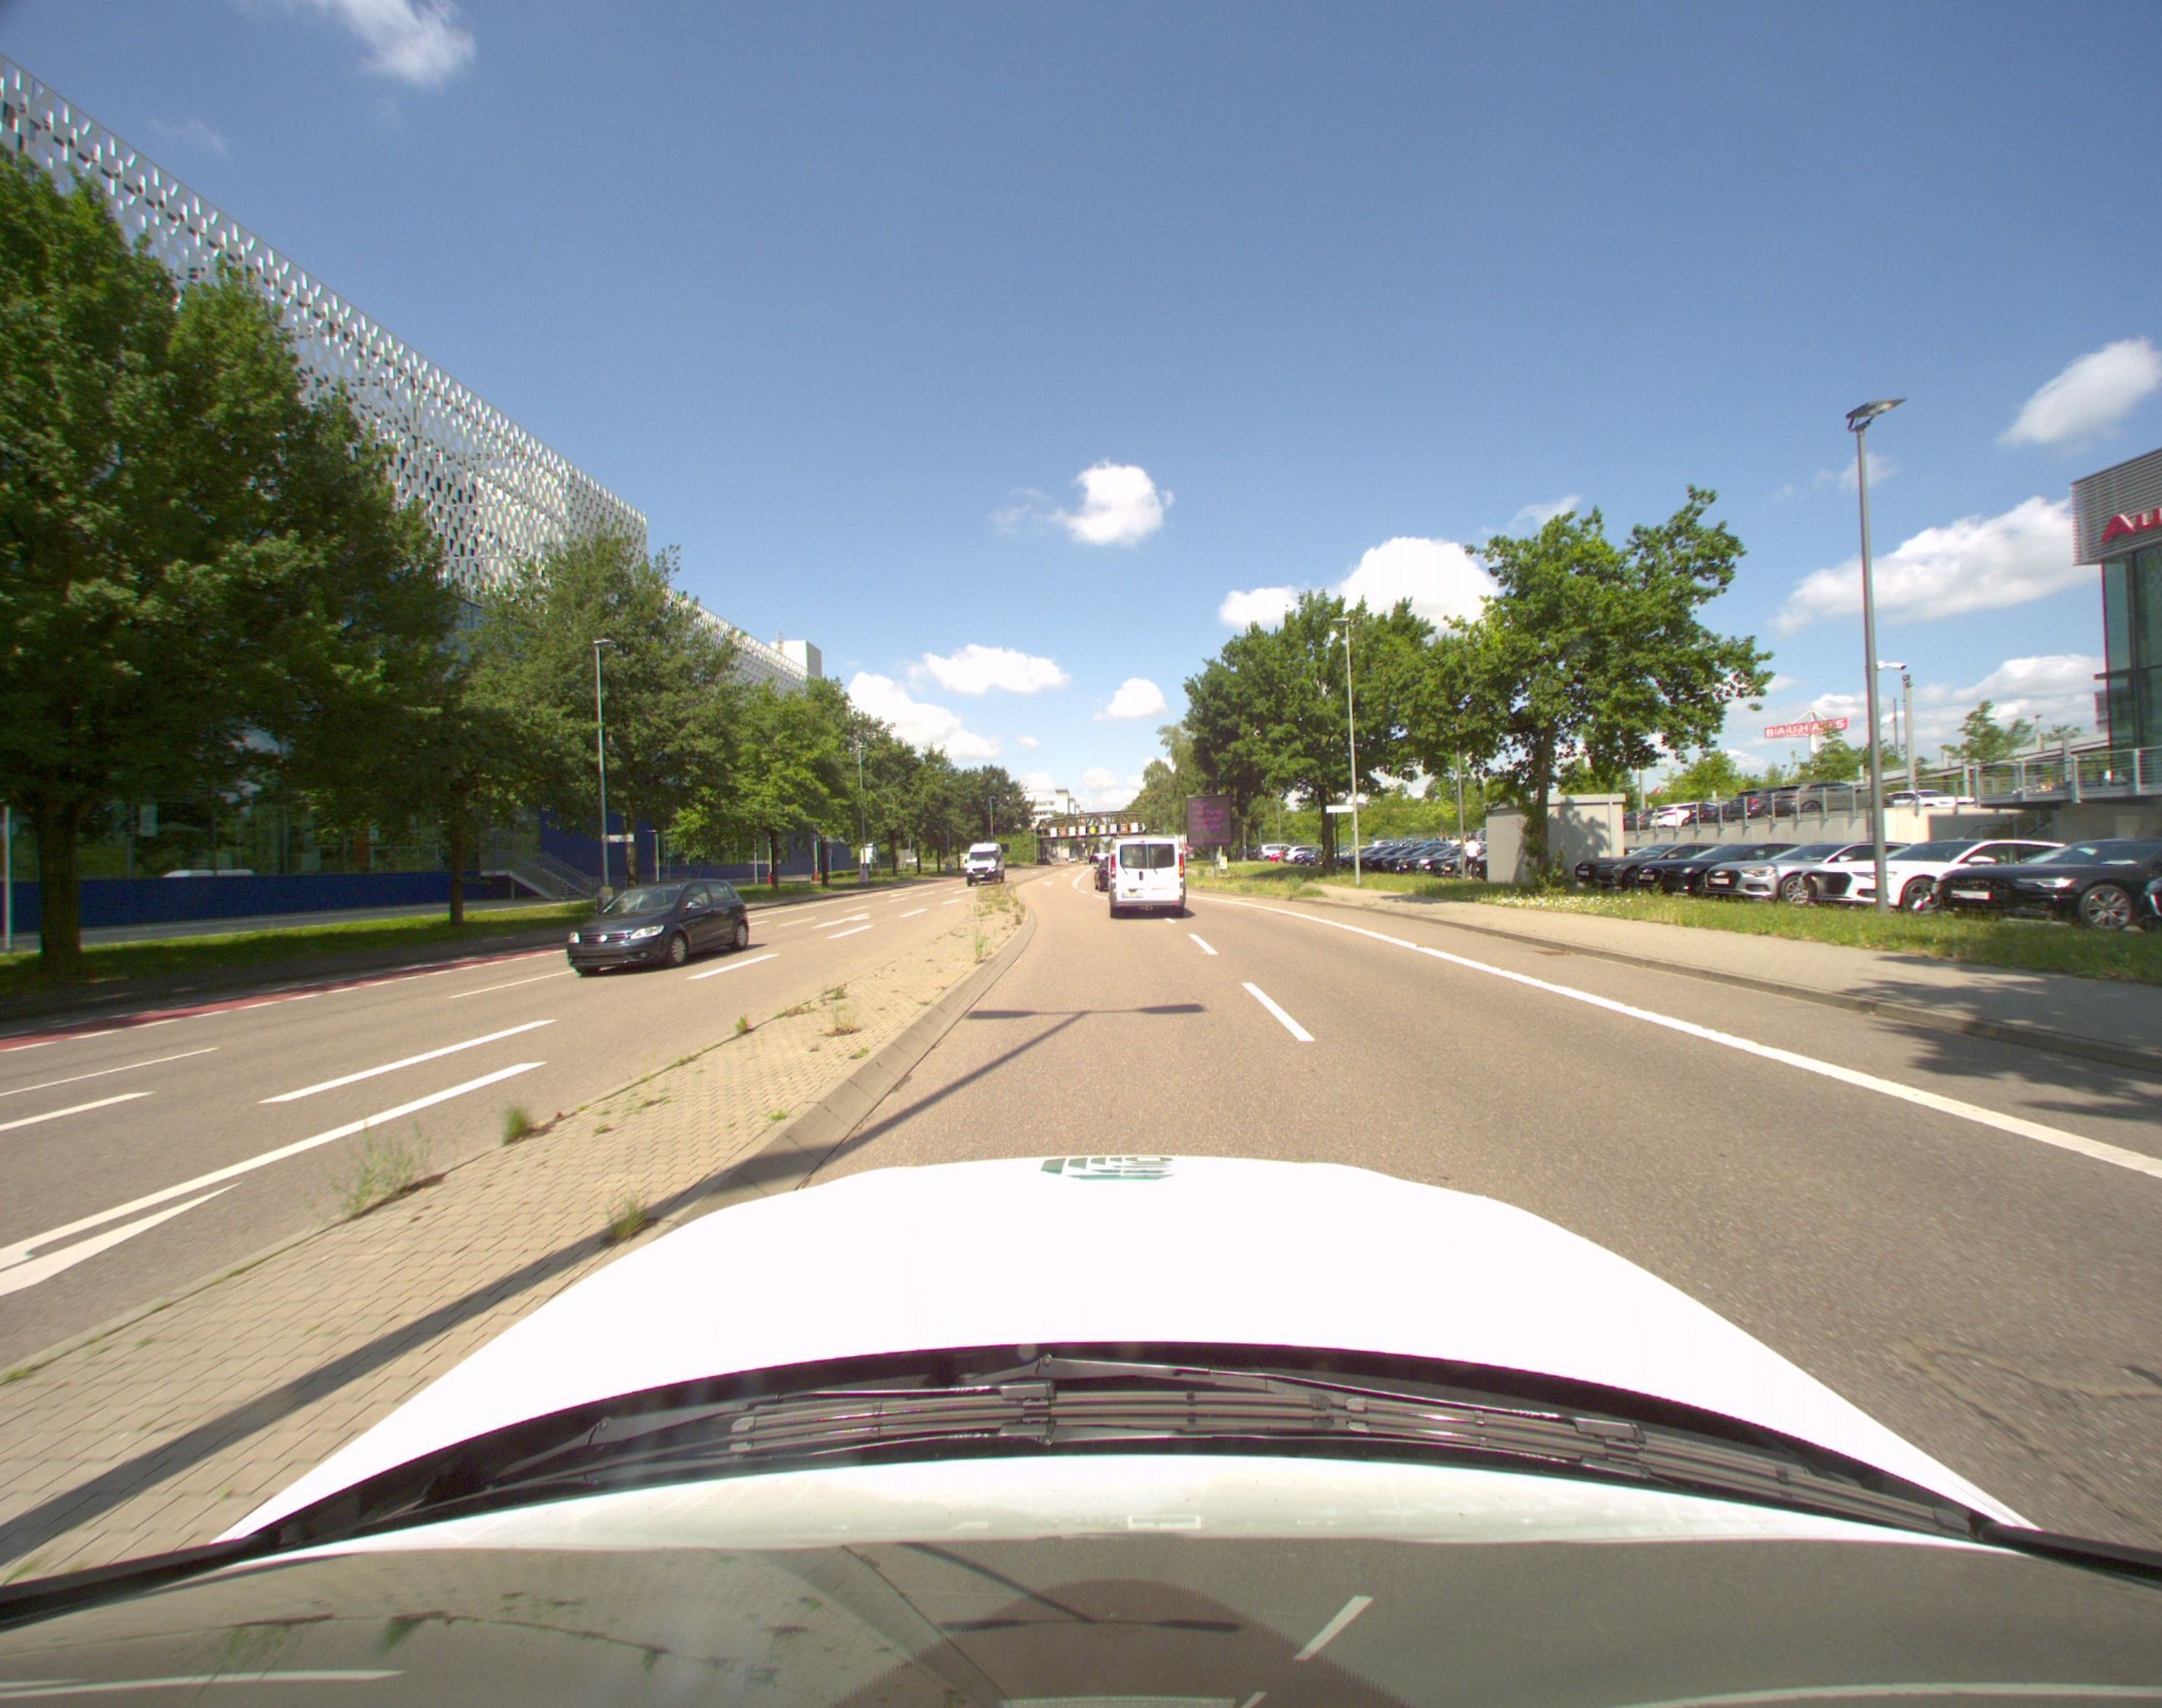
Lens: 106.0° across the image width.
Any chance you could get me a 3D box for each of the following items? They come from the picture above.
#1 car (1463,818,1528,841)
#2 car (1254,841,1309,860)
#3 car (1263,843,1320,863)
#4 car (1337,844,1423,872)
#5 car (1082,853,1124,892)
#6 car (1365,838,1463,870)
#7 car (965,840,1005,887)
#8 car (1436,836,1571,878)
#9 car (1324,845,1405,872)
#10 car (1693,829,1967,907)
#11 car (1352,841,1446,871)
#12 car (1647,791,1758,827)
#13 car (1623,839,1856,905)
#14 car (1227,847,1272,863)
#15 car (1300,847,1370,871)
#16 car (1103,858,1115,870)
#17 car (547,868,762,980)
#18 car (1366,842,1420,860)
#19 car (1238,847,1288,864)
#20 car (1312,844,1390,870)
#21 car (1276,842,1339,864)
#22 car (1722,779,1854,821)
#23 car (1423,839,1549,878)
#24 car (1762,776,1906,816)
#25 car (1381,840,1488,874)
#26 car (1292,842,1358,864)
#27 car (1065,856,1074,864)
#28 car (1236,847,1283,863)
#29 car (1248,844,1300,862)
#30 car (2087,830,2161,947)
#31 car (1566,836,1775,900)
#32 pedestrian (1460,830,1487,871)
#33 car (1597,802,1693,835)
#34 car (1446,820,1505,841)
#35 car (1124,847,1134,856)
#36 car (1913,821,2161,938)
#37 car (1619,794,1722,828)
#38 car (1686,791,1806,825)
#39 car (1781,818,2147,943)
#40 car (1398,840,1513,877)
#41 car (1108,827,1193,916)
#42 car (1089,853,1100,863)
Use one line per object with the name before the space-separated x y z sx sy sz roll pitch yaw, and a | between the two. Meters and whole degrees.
car | 33.993 -2.026 66.870 4.334 1.774 1.939 -1 1 5
car | 17.582 -0.294 71.567 4.340 1.512 1.936 -1 1 0
car | 17.840 -0.117 69.070 4.340 1.512 1.936 -1 1 0
car | 17.392 0.210 47.545 4.340 1.512 1.936 -1 1 0
car | 0.990 0.832 38.627 1.769 1.629 3.998 -2 1 -1
car | 17.171 -0.023 42.142 4.340 1.512 1.936 -1 1 0
car | -6.384 0.622 54.871 2.018 2.893 6.377 -2 0 -2
car | 16.523 0.103 32.001 4.340 1.512 1.936 -1 1 0
car | 17.341 0.283 49.935 4.340 1.512 1.936 -1 1 0
car | 15.758 0.284 17.312 4.091 1.404 1.819 -2 0 2
car | 17.249 0.096 44.290 4.340 1.512 1.936 -1 1 0
car | 32.857 -2.349 43.167 4.334 1.774 1.939 -1 1 5
car | 15.759 0.409 19.670 4.090 1.445 1.857 -1 0 2
car | 17.675 0.053 85.351 4.340 1.512 1.936 -1 1 0
car | 17.866 0.357 57.453 4.340 1.512 1.936 -1 1 0
car | 4.892 1.672 143.557 1.985 2.013 4.003 -2 0 3
car | -7.860 1.195 15.554 1.732 1.610 4.241 -6 0 0
car | 29.401 -0.266 76.773 4.330 1.499 1.908 -2 0 2
car | 17.501 0.112 78.407 4.340 1.512 1.936 -1 1 0
car | 17.267 0.199 52.186 4.340 1.512 1.936 -1 1 0
car | 17.502 -0.090 63.156 4.340 1.512 1.936 -1 1 0
car | 32.705 -2.487 37.753 4.334 1.774 1.939 -1 1 5
car | 16.920 0.167 34.197 4.340 1.512 1.936 -1 1 0
car | 32.577 -2.504 35.333 4.334 1.551 1.939 -1 1 5
car | 17.042 0.119 39.378 4.340 1.512 1.936 -1 1 0
car | 18.118 -0.078 60.549 4.340 1.512 1.936 -1 1 0
car | -3.007 1.633 217.126 1.984 2.013 4.005 -2 0 4
car | 17.952 0.108 82.225 4.340 1.512 1.936 -1 1 0
car | 17.543 -0.077 74.152 4.340 1.512 1.936 -1 1 0
car | 15.392 0.384 9.638 4.557 1.404 1.908 -1 1 2
car | 16.055 0.383 22.365 4.337 1.513 1.857 -2 0 2
pedestrian | 14.194 -0.137 29.459 0.631 1.459 0.772 -1 1 1
car | 33.478 -2.094 48.460 4.334 1.774 1.939 -1 1 5
car | 34.652 -2.049 71.618 4.334 1.774 1.939 -1 1 5
car | 13.218 -0.644 223.329 2.365 2.475 4.772 -2 0 8
car | 15.547 0.411 12.141 4.331 1.512 1.787 4 2 1
car | 33.084 -2.370 45.765 4.334 1.774 1.939 -1 1 5
car | 33.037 -2.268 40.554 4.334 1.551 1.939 -1 1 5
car | 15.882 0.437 14.860 4.557 2.049 1.908 -1 1 2
car | 16.907 0.194 36.886 4.340 1.512 1.936 -1 1 0
car | 1.722 0.380 21.720 1.965 2.059 4.567 -2 1 2
car | 2.551 0.816 155.056 1.985 1.771 4.004 -1 2 3
